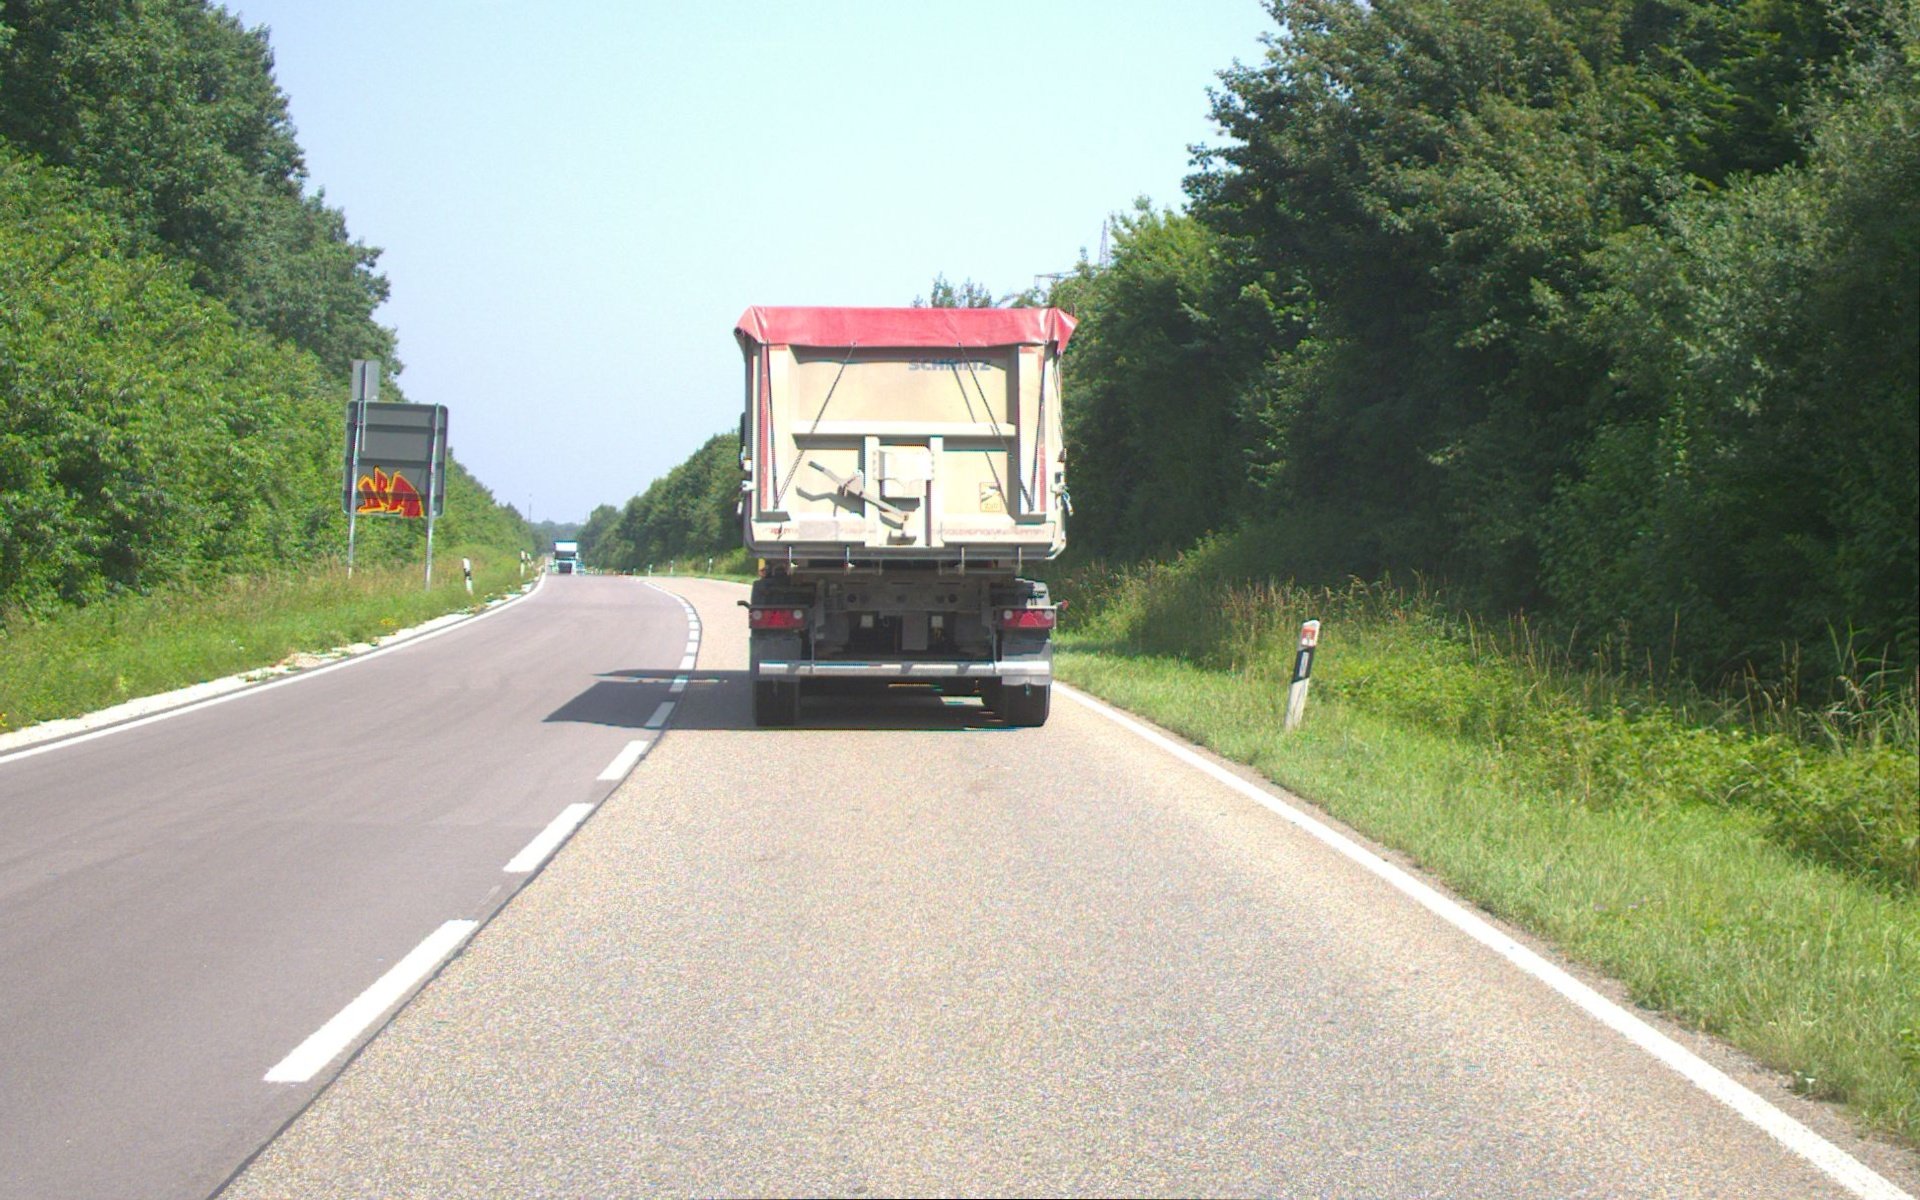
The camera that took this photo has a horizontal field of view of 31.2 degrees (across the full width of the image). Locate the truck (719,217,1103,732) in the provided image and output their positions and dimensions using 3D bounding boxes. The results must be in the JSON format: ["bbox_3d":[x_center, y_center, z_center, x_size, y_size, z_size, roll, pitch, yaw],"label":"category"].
[{"bbox_3d":[-0.793,-1.083,32.519,2.893,3.949,11.935,1,1,-4],"label":"truck"}]
